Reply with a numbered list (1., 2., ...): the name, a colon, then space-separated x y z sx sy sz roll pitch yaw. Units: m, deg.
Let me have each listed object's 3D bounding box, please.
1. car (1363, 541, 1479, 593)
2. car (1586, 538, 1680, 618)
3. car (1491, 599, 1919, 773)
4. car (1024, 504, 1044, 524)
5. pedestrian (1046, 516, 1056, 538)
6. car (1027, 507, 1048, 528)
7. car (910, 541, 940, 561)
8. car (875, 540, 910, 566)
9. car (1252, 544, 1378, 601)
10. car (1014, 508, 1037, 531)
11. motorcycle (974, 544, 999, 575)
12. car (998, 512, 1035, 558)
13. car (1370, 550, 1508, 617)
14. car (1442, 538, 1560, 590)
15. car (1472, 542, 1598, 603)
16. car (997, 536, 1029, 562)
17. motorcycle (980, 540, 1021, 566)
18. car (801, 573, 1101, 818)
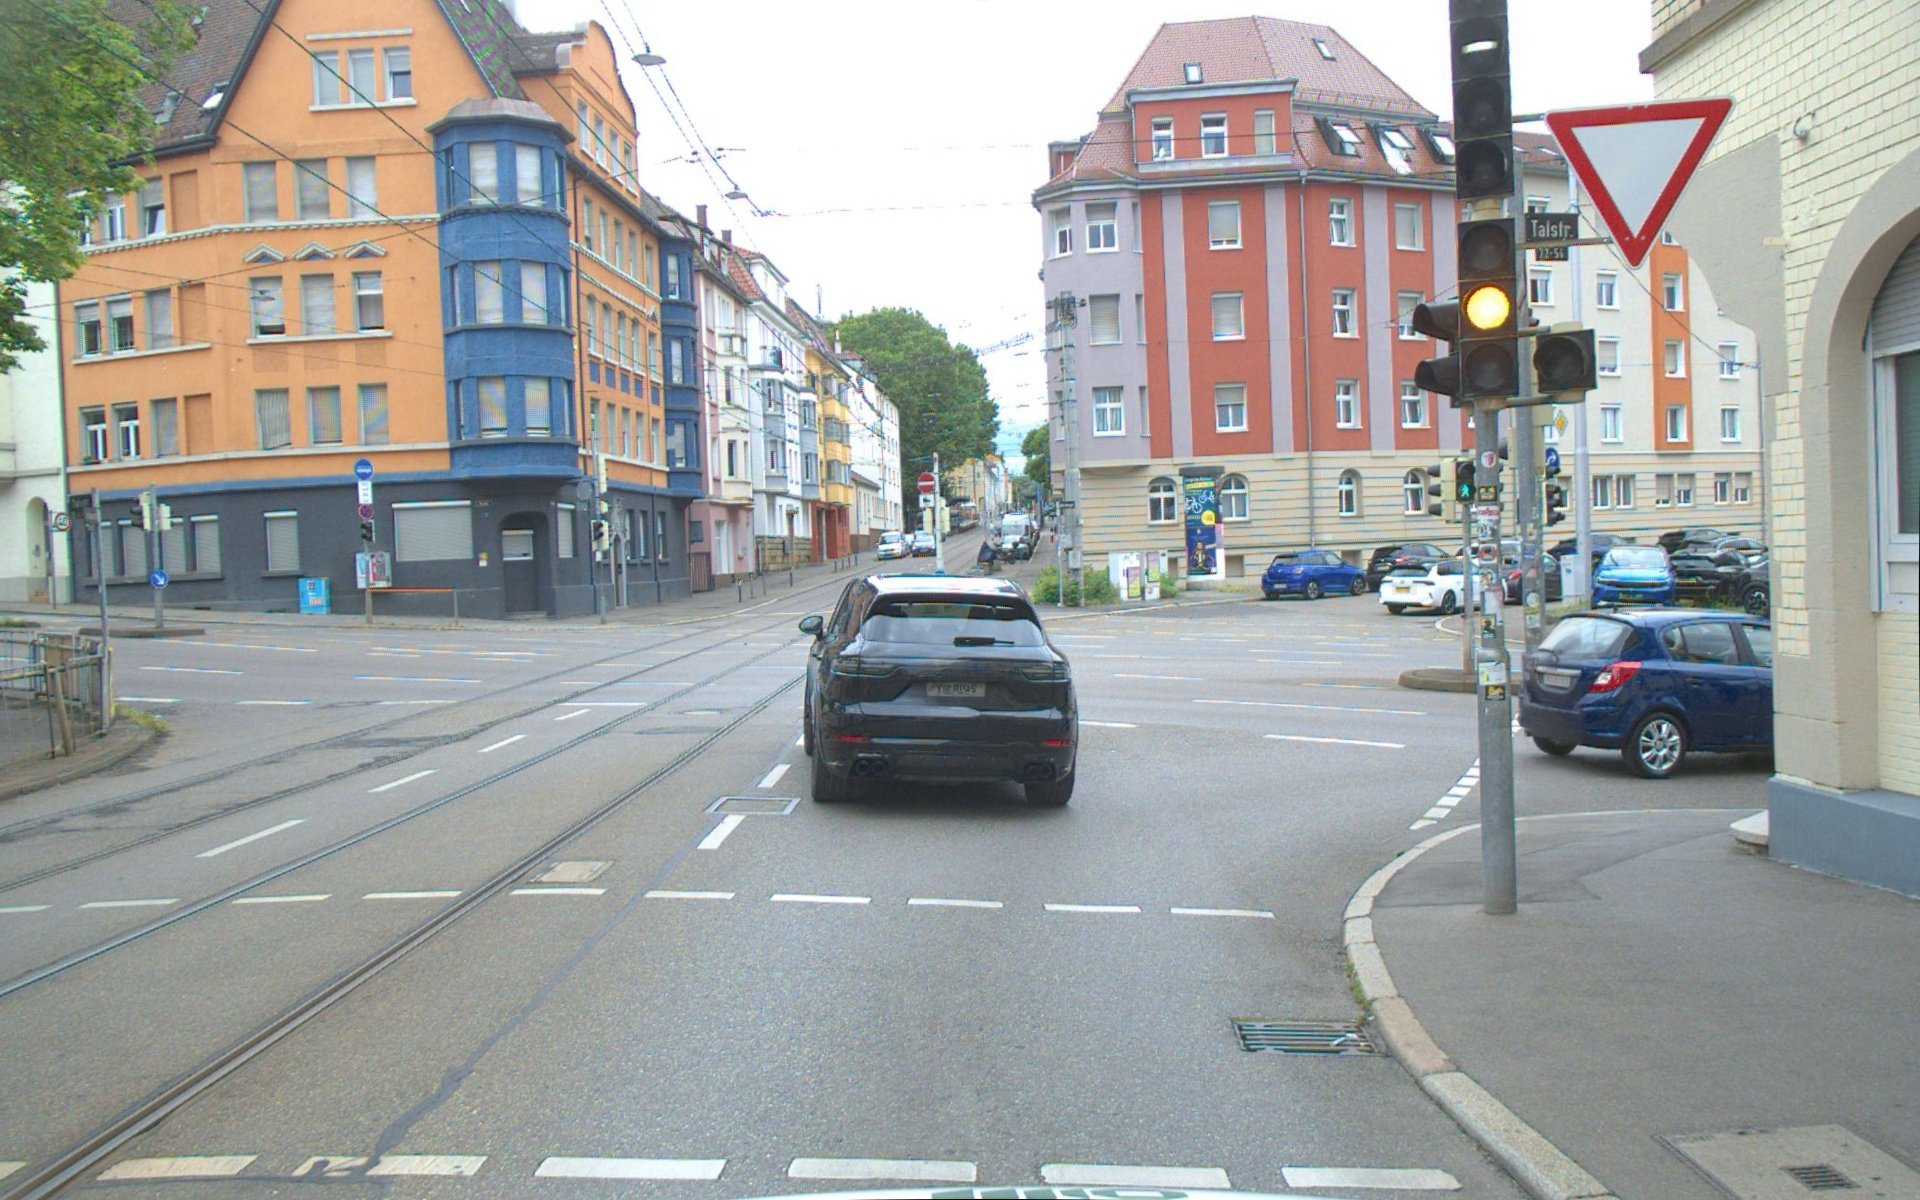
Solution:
1. car: 15.765 -1.164 56.475 4.105 1.561 1.890 -5 5 -41
2. car: 16.053 -0.586 39.353 1.788 1.604 4.258 1 5 26
3. car: 7.239 0.804 16.007 3.684 1.472 1.750 2 1 -20
4. car: 8.497 -9.806 189.515 2.219 2.221 4.773 0 2 4
5. pedestrian: 7.088 -5.677 129.264 0.665 1.660 0.674 0 -1 12
6. car: 8.606 -9.109 183.247 2.219 2.221 4.773 0 2 4
7. car: -2.387 -3.355 113.627 1.650 1.349 3.665 0 2 4
8. car: -4.642 -3.275 114.385 1.951 1.721 4.003 0 2 4
9. car: 11.354 -0.922 52.794 4.107 1.561 1.889 -5 5 -42
10. car: 6.692 -8.215 169.325 2.219 2.221 4.773 0 2 4
11. motorcycle: 1.254 -1.922 78.796 0.843 1.348 2.182 -7 3 -5
12. car: 3.718 -4.293 108.723 2.219 2.940 4.773 0 2 4
13. car: 13.112 -0.491 45.136 1.887 1.561 4.113 2 5 45
14. car: 19.582 -1.329 59.829 4.087 1.661 1.899 -4 4 -31
15. car: 16.975 -0.848 48.754 4.110 1.561 1.888 -5 5 -44
16. car: 3.314 -3.166 102.426 1.801 1.596 3.822 0 2 4
17. motorcycle: 2.172 -2.543 89.311 2.135 1.349 0.699 0 2 -7
18. car: -0.259 0.621 13.533 1.985 1.670 4.350 0 1 -7
